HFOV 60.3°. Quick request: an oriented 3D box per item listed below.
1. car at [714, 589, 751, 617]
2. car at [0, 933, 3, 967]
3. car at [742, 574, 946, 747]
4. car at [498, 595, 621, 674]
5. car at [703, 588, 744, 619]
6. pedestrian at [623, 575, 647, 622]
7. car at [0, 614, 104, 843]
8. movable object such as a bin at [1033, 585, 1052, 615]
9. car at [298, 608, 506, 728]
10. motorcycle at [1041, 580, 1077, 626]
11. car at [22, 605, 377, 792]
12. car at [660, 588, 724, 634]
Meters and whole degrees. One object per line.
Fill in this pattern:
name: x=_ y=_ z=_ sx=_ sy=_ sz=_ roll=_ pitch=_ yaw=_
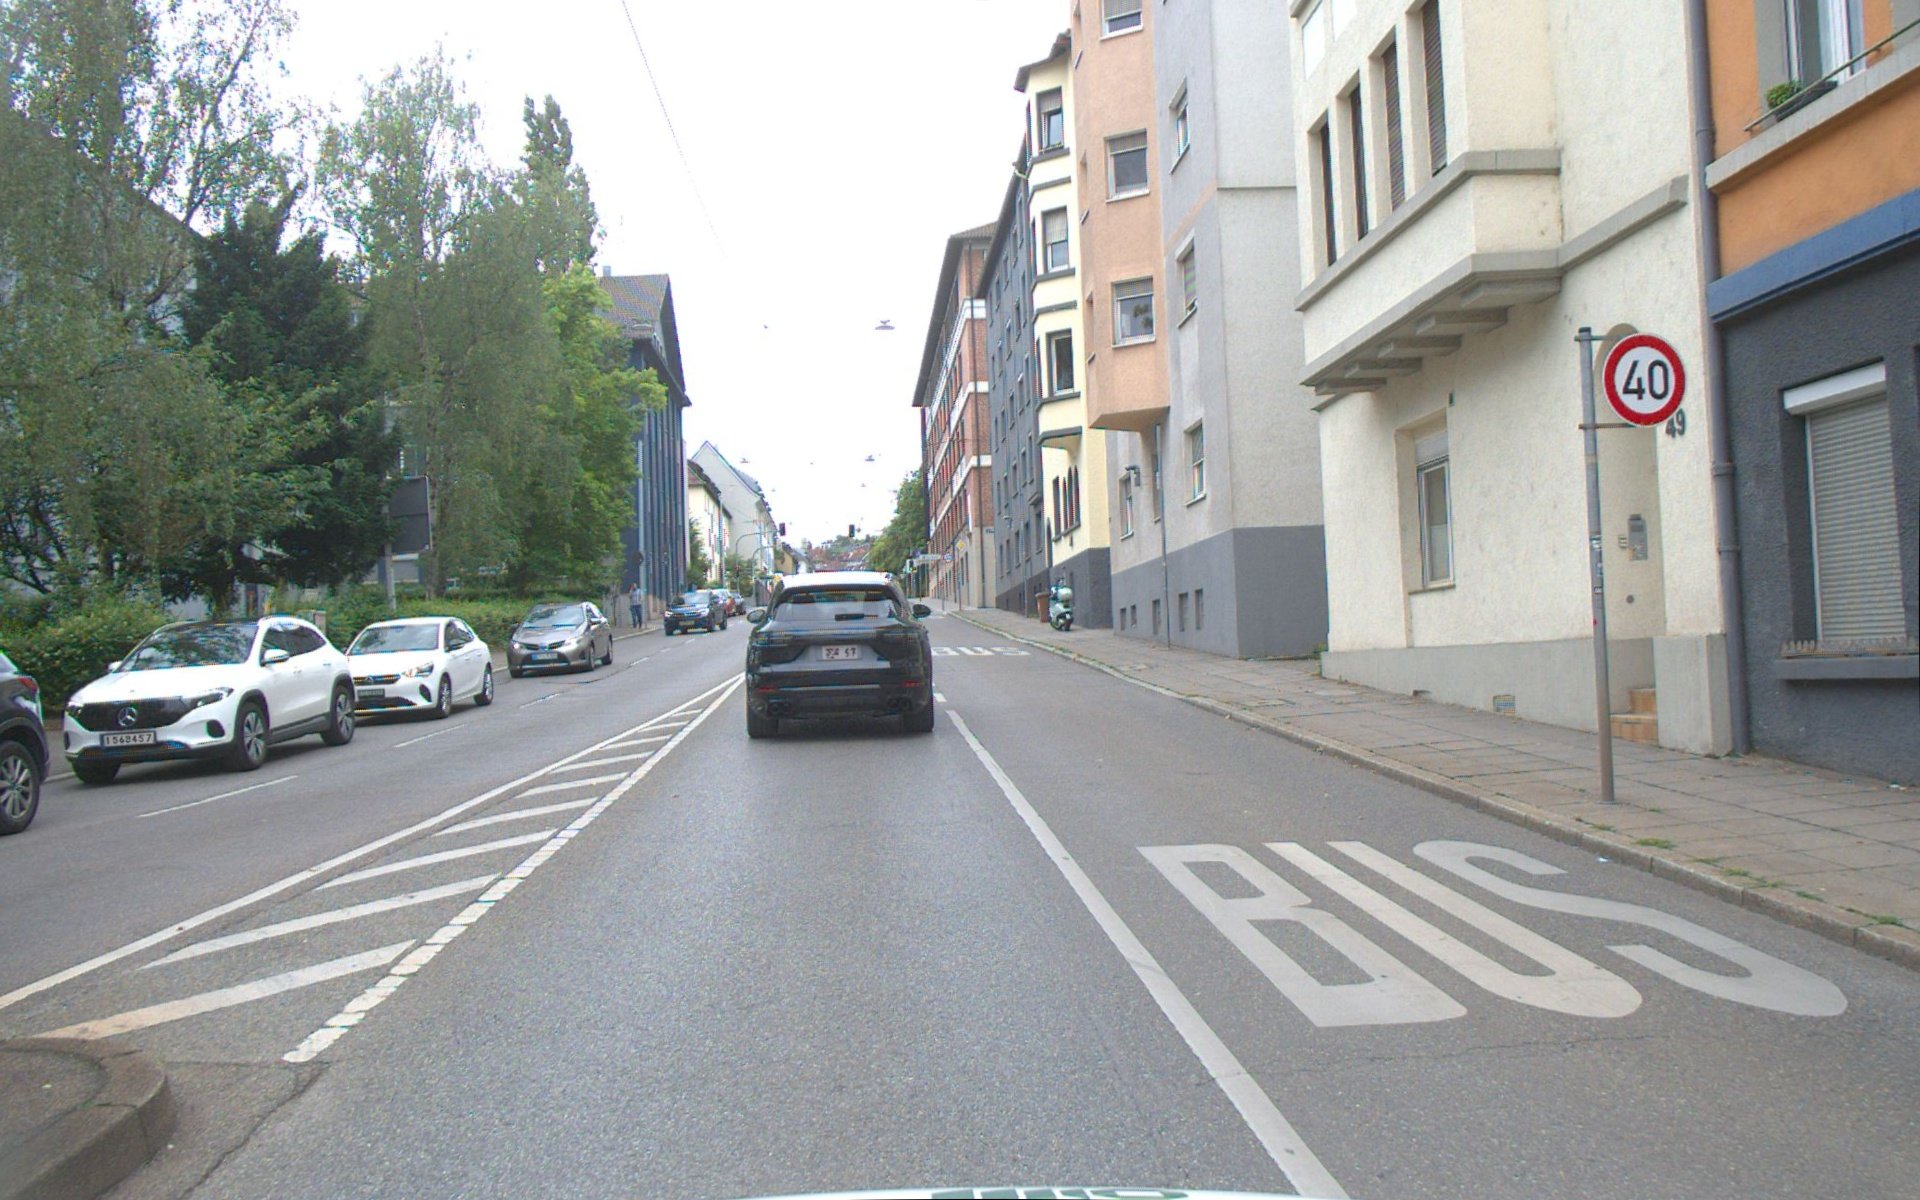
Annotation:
car: x=-12.889 y=0.152 z=93.924 sx=1.681 sy=1.364 sz=3.901 roll=-4 pitch=1 yaw=-4
car: x=-5.088 y=0.890 z=4.897 sx=1.739 sy=1.573 sz=4.327 roll=-5 pitch=1 yaw=2
car: x=-1.415 y=0.573 z=18.426 sx=1.986 sy=1.670 sz=4.348 roll=-1 pitch=0 yaw=-8
car: x=-8.689 y=0.697 z=36.221 sx=1.803 sy=1.473 sz=4.308 roll=-4 pitch=1 yaw=-3
car: x=-12.578 y=0.180 z=87.997 sx=1.680 sy=1.481 sz=3.987 roll=-4 pitch=1 yaw=-3
pedestrian: x=-13.646 y=-0.066 z=69.459 sx=0.865 sy=1.984 sz=0.867 roll=0 pitch=1 yaw=-4
car: x=-8.166 y=1.071 z=11.630 sx=1.912 sy=1.670 sz=4.413 roll=-5 pitch=1 yaw=-1
movable object such as a bin: x=2.593 y=-0.007 z=51.841 sx=0.465 sy=0.907 sz=0.516 roll=-5 pitch=1 yaw=-5
car: x=-8.314 y=0.960 z=25.020 sx=1.803 sy=1.436 sz=4.072 roll=-5 pitch=1 yaw=-2
motorcycle: x=2.688 y=0.071 z=45.082 sx=0.527 sy=1.175 sz=2.223 roll=-5 pitch=1 yaw=-6
car: x=-8.399 y=0.995 z=18.800 sx=1.912 sy=1.621 sz=4.497 roll=-5 pitch=1 yaw=-1
car: x=-9.703 y=0.363 z=60.148 sx=1.803 sy=1.473 sz=4.308 roll=-4 pitch=1 yaw=-3
